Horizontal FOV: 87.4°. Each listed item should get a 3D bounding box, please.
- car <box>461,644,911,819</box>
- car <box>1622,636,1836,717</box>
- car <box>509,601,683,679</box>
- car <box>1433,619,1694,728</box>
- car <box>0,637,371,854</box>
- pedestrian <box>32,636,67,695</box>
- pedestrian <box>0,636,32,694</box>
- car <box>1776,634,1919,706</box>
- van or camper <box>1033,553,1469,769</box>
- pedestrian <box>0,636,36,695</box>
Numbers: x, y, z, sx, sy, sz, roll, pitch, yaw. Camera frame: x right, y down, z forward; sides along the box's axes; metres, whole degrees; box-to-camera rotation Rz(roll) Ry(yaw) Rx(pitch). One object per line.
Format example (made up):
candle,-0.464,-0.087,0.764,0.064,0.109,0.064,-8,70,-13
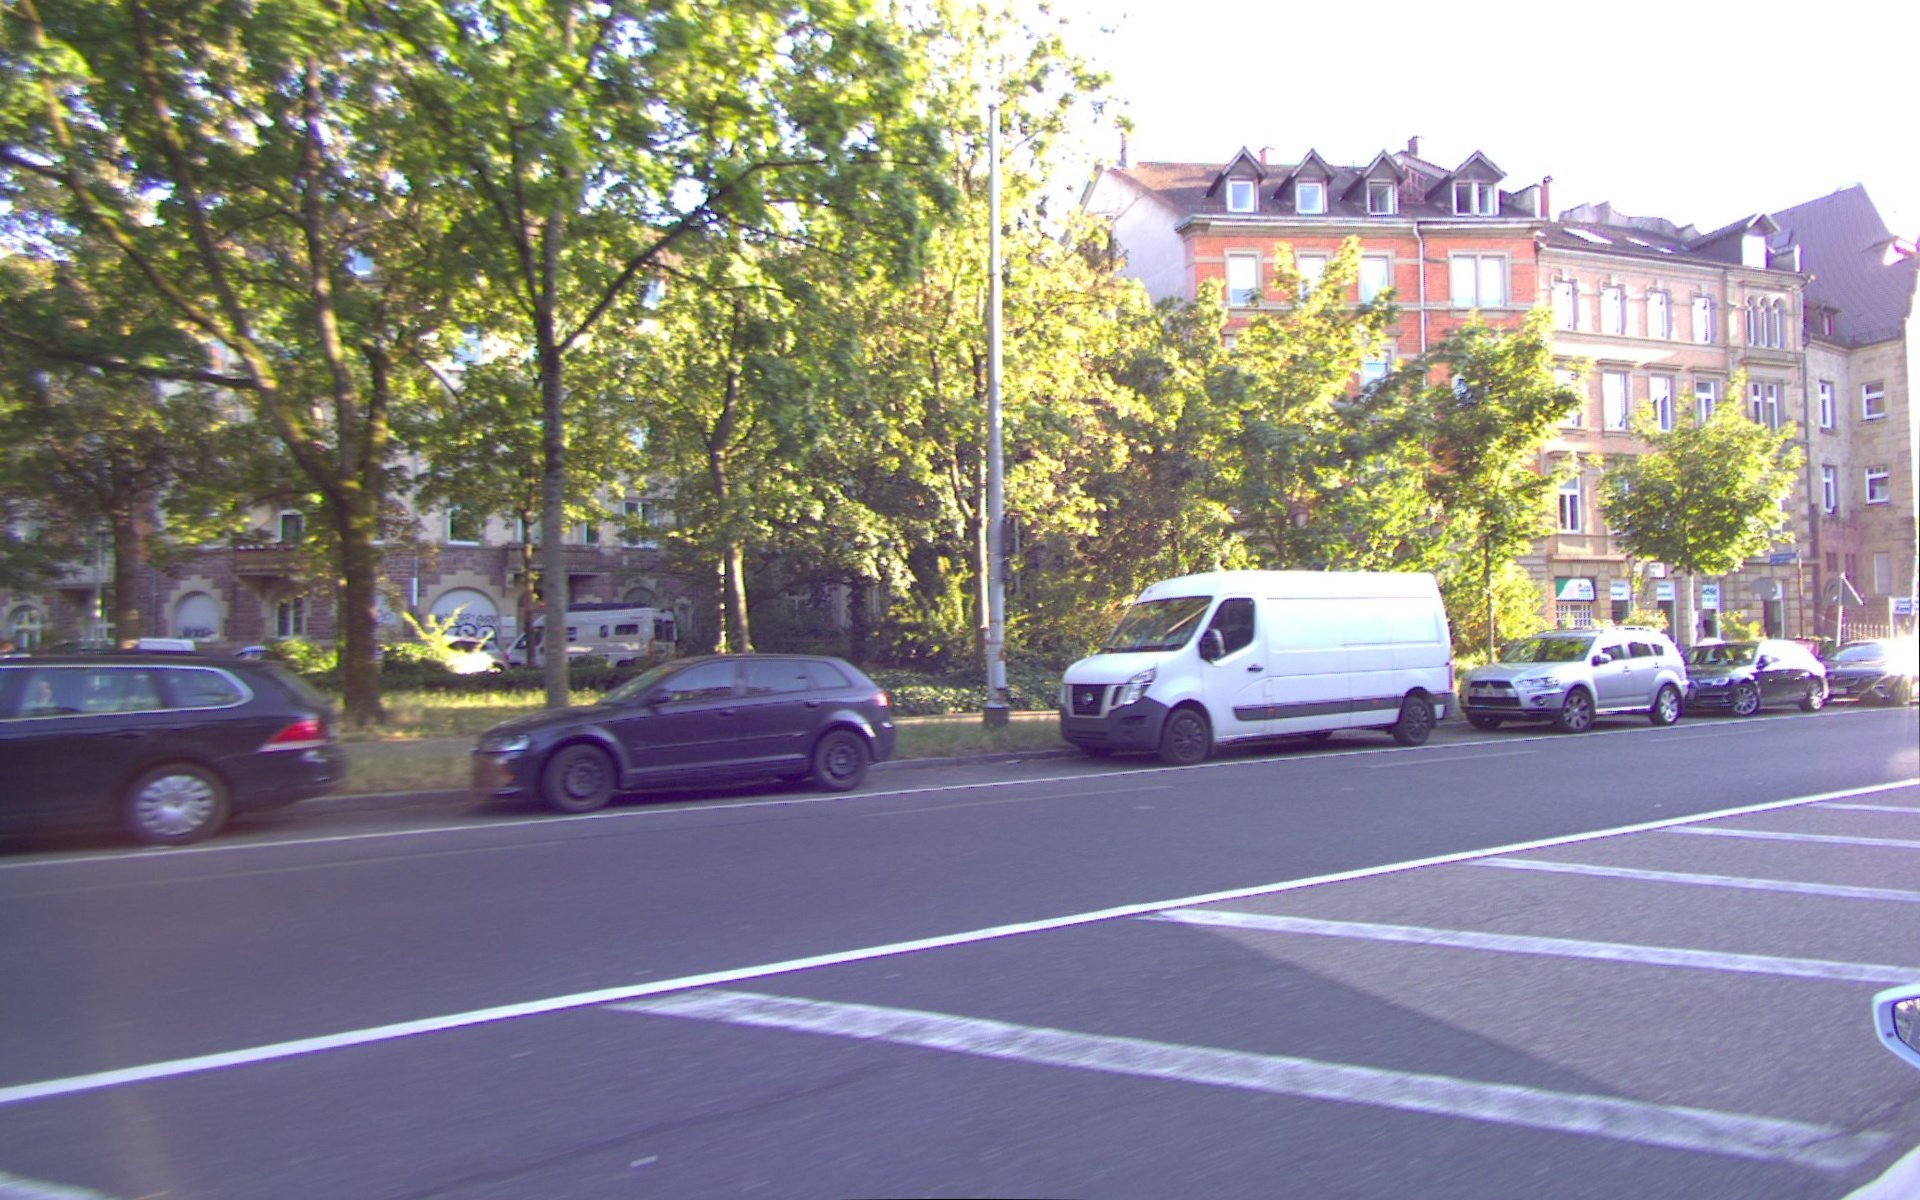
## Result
car,-2.733,1.209,10.278,4.191,1.448,1.622,1,-4,-30
car,15.484,1.472,20.174,4.569,1.464,1.729,1,-3,-29
car,-12.439,1.385,34.520,5.128,2.518,2.275,-1,-2,6
car,10.486,1.220,17.401,4.516,1.666,1.858,1,-4,-29
car,-7.228,1.071,7.798,4.488,1.526,1.617,1,-3,-29
pedestrian,-22.228,1.592,24.537,0.553,1.414,0.453,1,-3,-35
pedestrian,-23.467,1.604,24.848,0.548,1.414,0.458,-1,-2,1
car,21.009,1.544,22.975,4.770,1.503,1.985,1,-3,-29
van or camper,4.198,0.800,14.074,6.230,2.500,2.082,1,-4,-30
pedestrian,-22.700,1.573,24.198,0.553,1.414,0.453,1,-3,-35
